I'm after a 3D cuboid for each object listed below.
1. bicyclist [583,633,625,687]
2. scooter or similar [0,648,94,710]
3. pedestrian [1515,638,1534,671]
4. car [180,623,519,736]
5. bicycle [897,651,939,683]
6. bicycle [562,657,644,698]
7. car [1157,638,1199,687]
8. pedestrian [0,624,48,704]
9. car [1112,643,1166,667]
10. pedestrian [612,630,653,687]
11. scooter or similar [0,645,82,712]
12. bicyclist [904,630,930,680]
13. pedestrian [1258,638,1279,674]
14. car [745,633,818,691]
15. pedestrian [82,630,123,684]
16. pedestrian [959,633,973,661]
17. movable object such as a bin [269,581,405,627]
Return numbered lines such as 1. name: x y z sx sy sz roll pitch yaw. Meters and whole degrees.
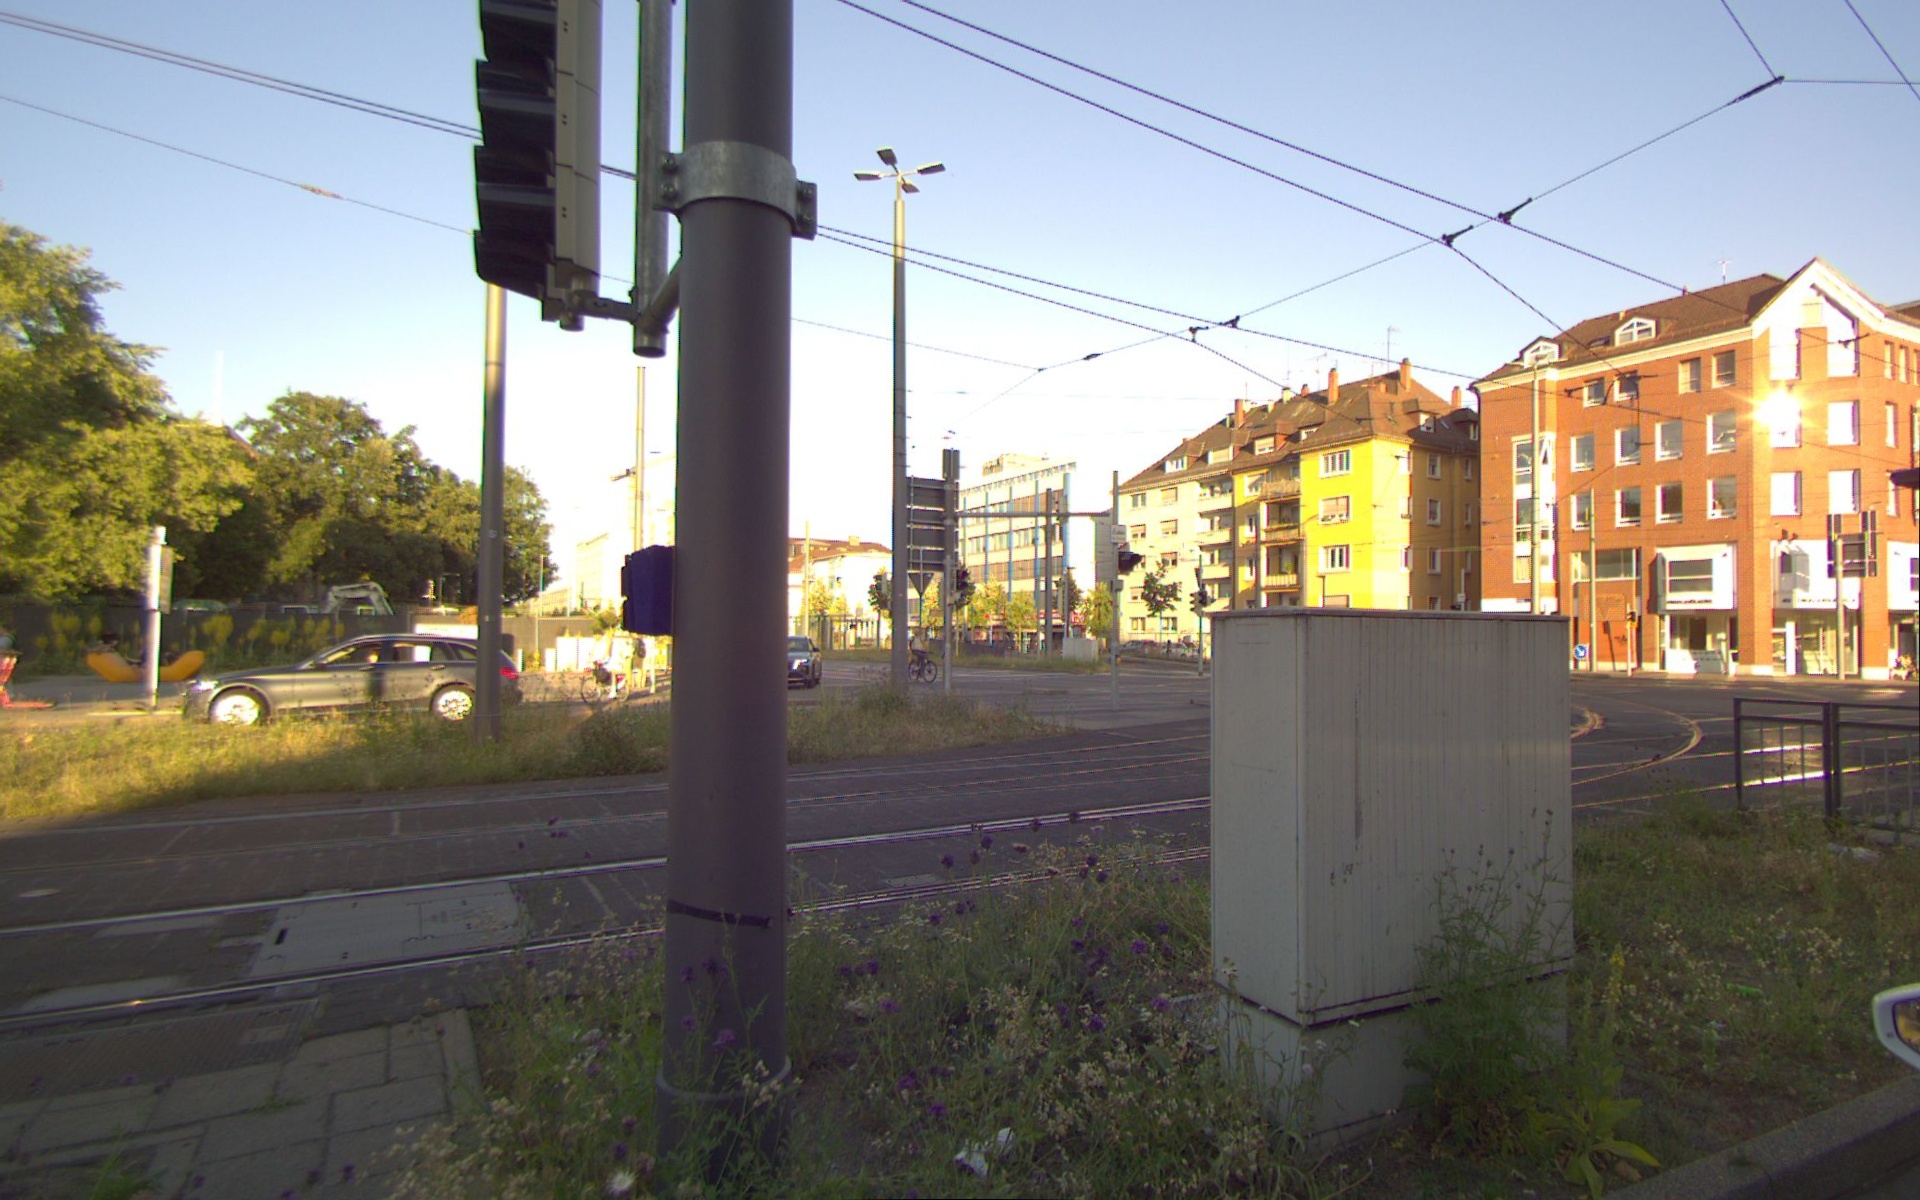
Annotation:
1. bicyclist: -8.642 1.453 24.413 0.658 1.274 0.725 -1 -2 40
2. scooter or similar: -18.332 1.555 20.156 0.452 1.181 1.405 0 -2 16
3. pedestrian: 31.225 3.031 55.554 0.807 1.801 0.632 1 -2 -37
4. car: -9.530 1.200 16.068 4.362 1.537 1.984 2 0 -30
5. bicycle: -1.447 2.275 34.378 0.590 1.036 1.831 2 -2 -32
6. bicycle: -8.656 1.864 24.385 0.670 0.904 1.789 -1 -2 39
7. car: 17.204 4.948 79.393 1.715 3.594 1.410 5 30 -23
8. pedestrian: -21.254 1.431 22.477 0.812 1.746 0.880 0 -3 13
9. car: 14.912 4.579 84.074 2.096 1.727 4.313 5 -4 -31
10. pedestrian: -10.363 1.850 31.807 0.805 1.758 0.944 0 -2 14
11. scooter or similar: -18.798 1.563 20.244 0.452 1.309 1.654 0 -2 16
12. bicyclist: -1.487 1.868 34.446 0.590 1.693 0.741 2 -2 -32
13. pedestrian: 13.550 2.449 44.128 0.695 1.561 0.635 1 -2 -13
14. car: -5.733 1.912 31.866 1.917 1.682 4.523 1 -2 -14
15. pedestrian: -27.262 1.792 31.952 0.753 1.687 0.818 1 -2 -23
16. pedestrian: 0.342 2.741 58.323 0.558 1.611 0.686 1 -2 -26
17. movable object such as a bin: -28.347 0.203 45.788 4.924 2.040 2.001 0 -2 1
